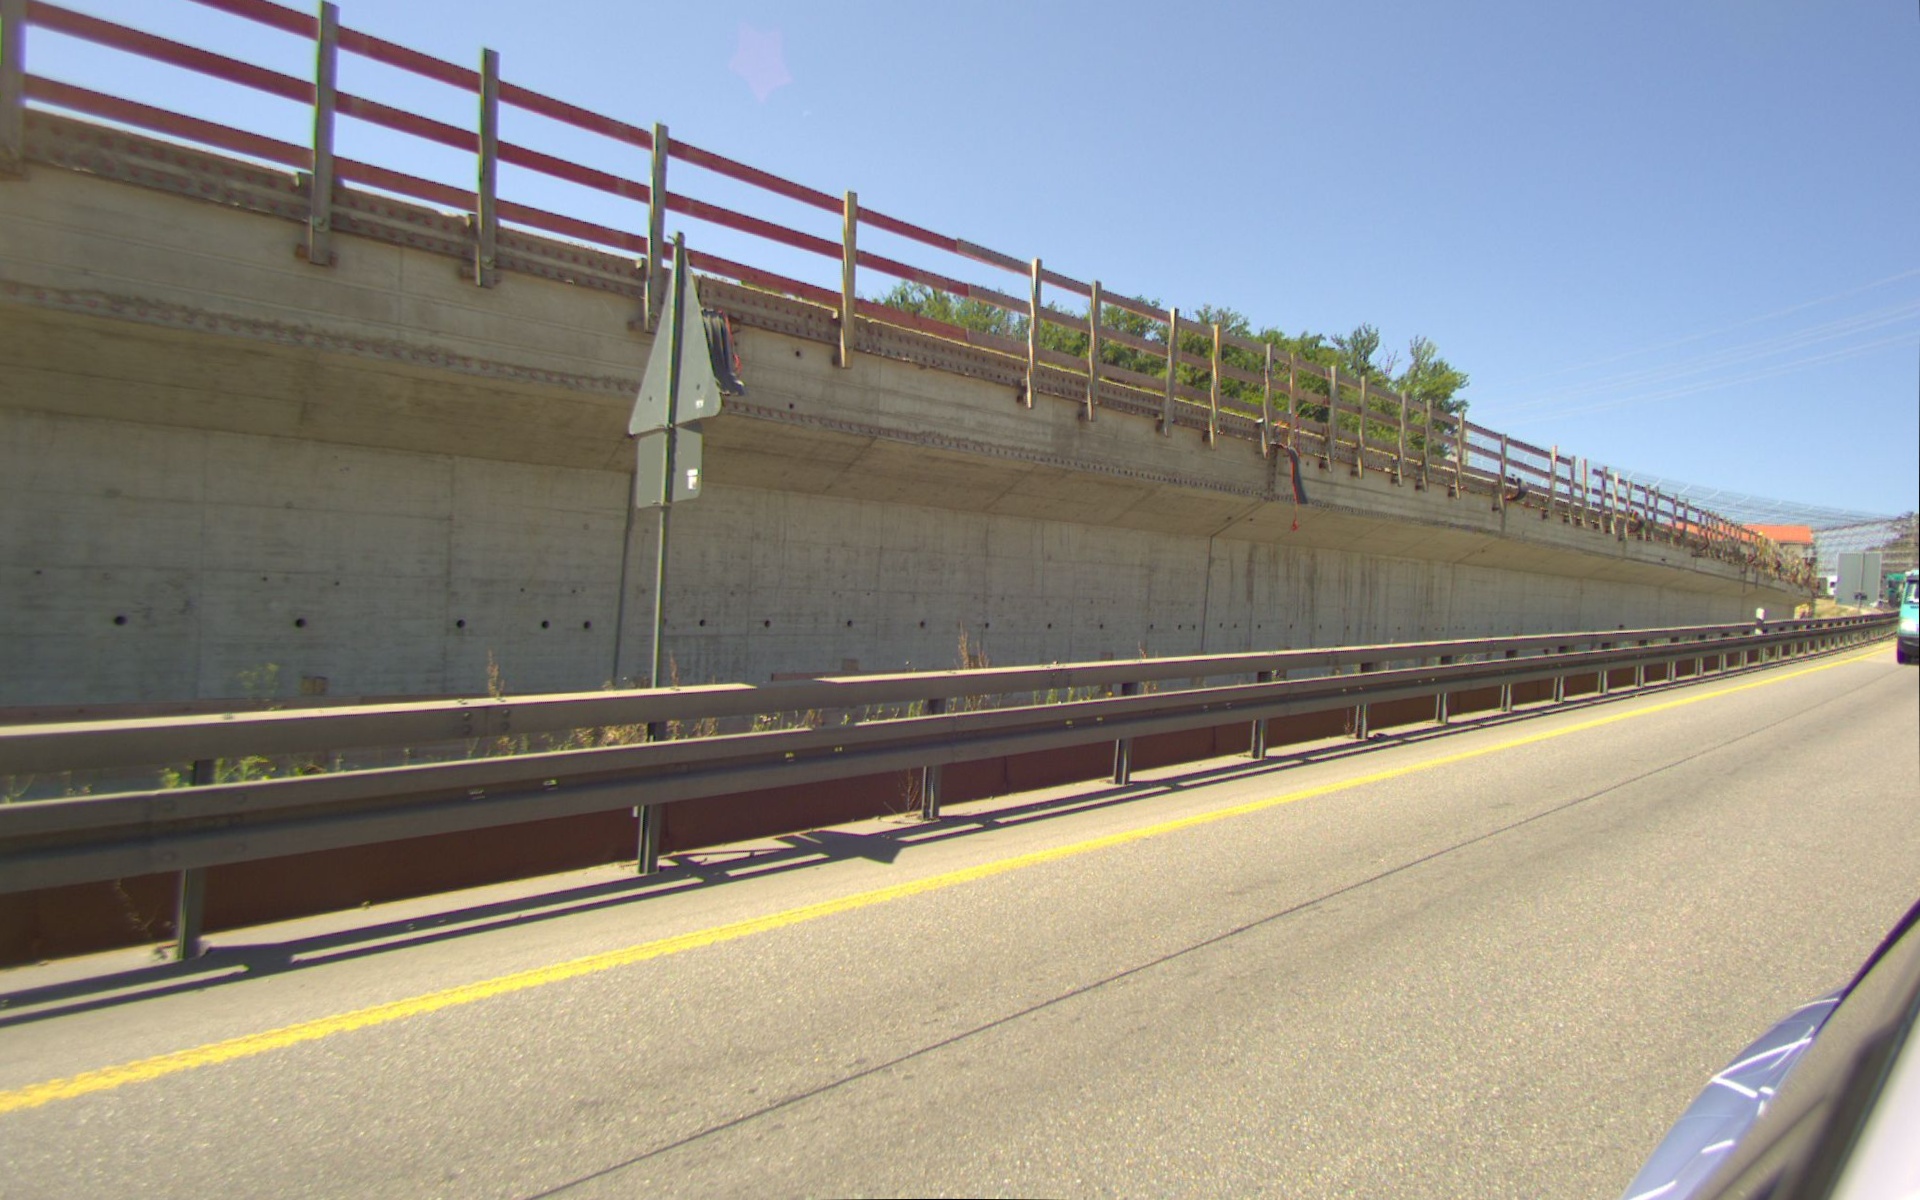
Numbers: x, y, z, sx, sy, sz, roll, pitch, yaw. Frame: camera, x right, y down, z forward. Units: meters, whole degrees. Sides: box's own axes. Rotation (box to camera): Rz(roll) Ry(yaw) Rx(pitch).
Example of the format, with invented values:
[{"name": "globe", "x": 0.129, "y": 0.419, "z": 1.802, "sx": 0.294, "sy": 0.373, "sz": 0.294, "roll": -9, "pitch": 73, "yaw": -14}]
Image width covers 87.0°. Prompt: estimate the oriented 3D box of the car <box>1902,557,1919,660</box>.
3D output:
[{"name": "car", "x": 24.857, "y": 0.172, "z": 24.853, "sx": 6.789, "sy": 2.355, "sz": 2.213, "roll": -1, "pitch": 2, "yaw": -45}]
